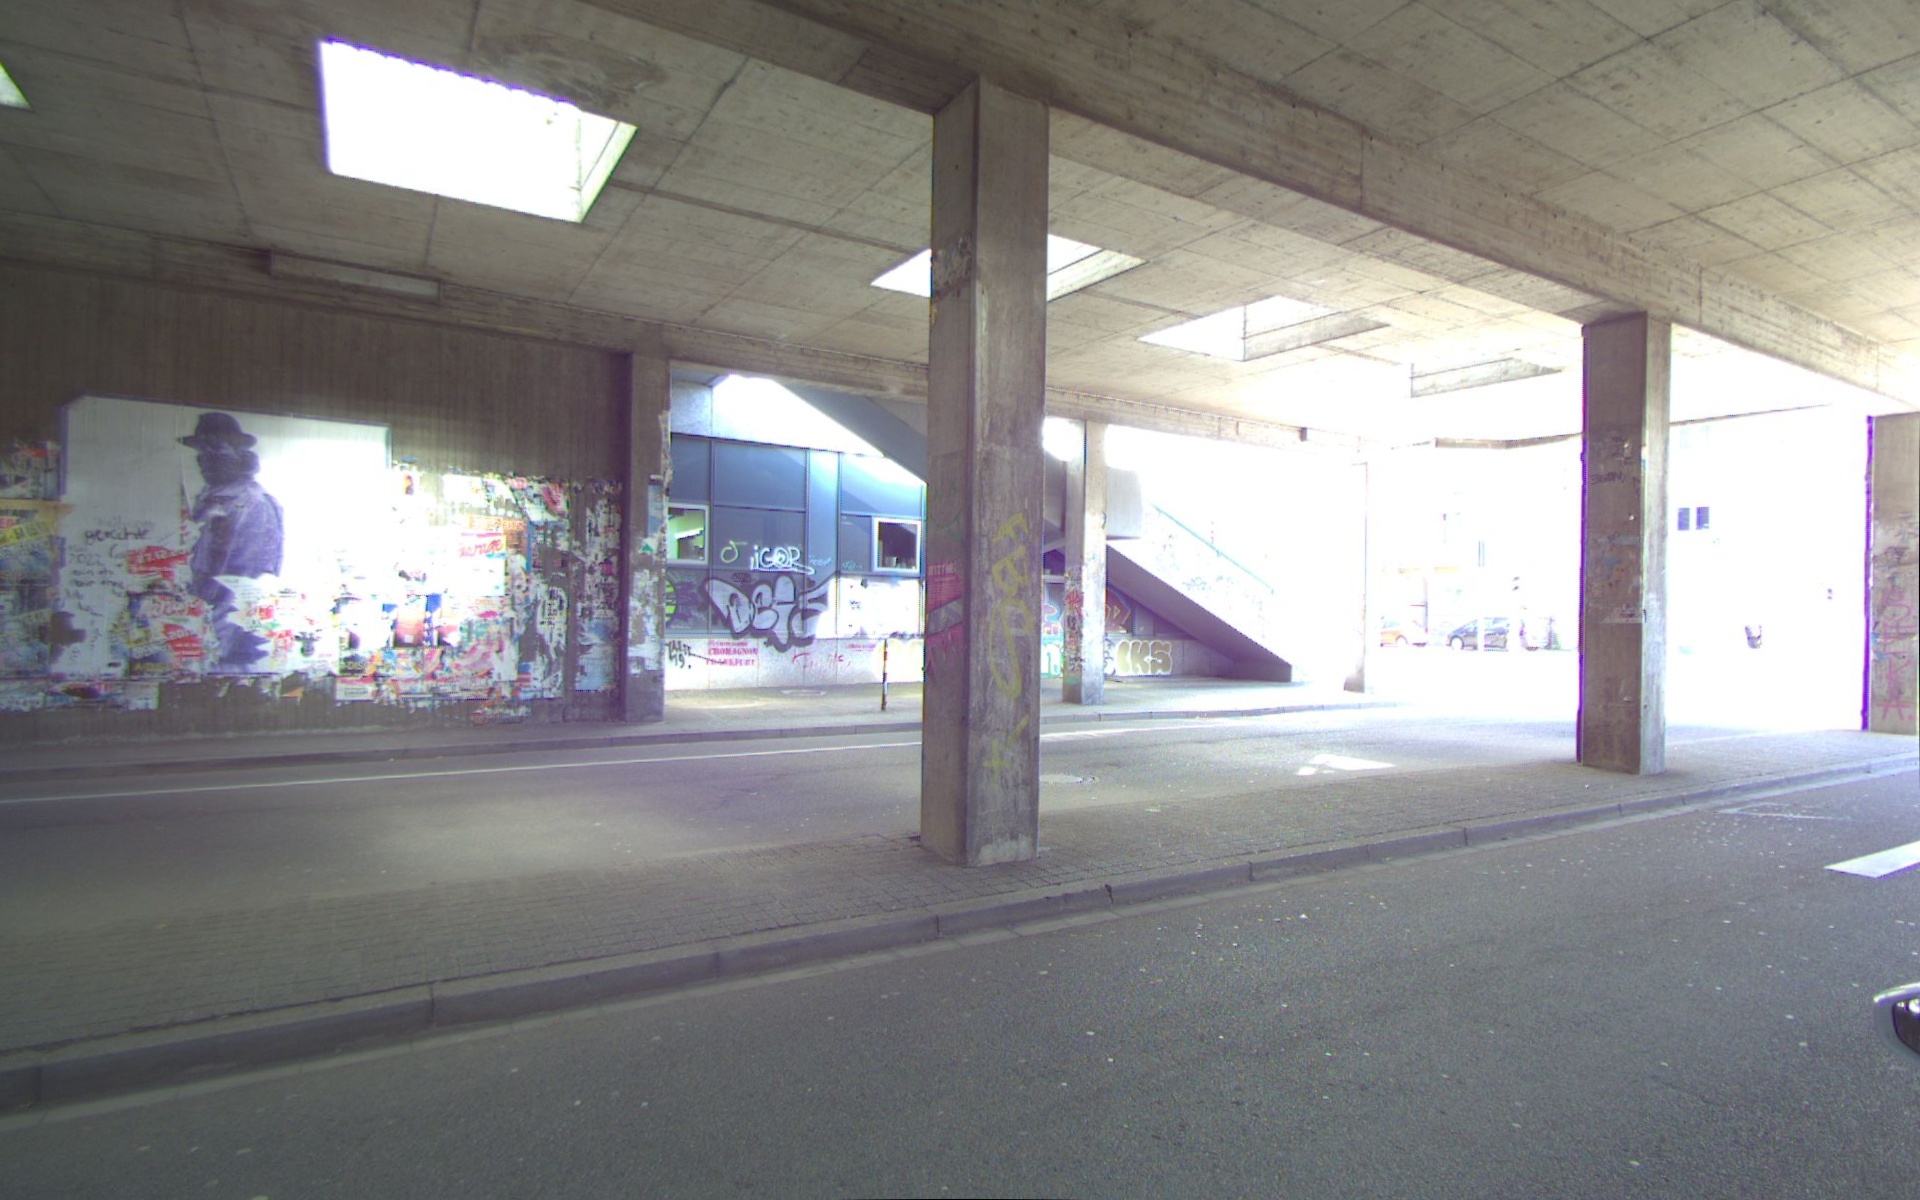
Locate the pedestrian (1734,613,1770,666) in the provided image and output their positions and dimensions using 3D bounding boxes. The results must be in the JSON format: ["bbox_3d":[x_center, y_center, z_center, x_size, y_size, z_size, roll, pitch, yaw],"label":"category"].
[{"bbox_3d":[25.639,1.277,32.516,0.732,1.659,0.669,2,0,-30],"label":"pedestrian"}]

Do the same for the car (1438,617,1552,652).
[{"bbox_3d":[25.345,1.616,47.723,1.905,1.428,4.382,2,0,-32],"label":"car"}]

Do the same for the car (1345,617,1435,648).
[{"bbox_3d":[22.498,1.700,52.709,1.905,1.428,3.965,2,0,-32],"label":"car"}]
